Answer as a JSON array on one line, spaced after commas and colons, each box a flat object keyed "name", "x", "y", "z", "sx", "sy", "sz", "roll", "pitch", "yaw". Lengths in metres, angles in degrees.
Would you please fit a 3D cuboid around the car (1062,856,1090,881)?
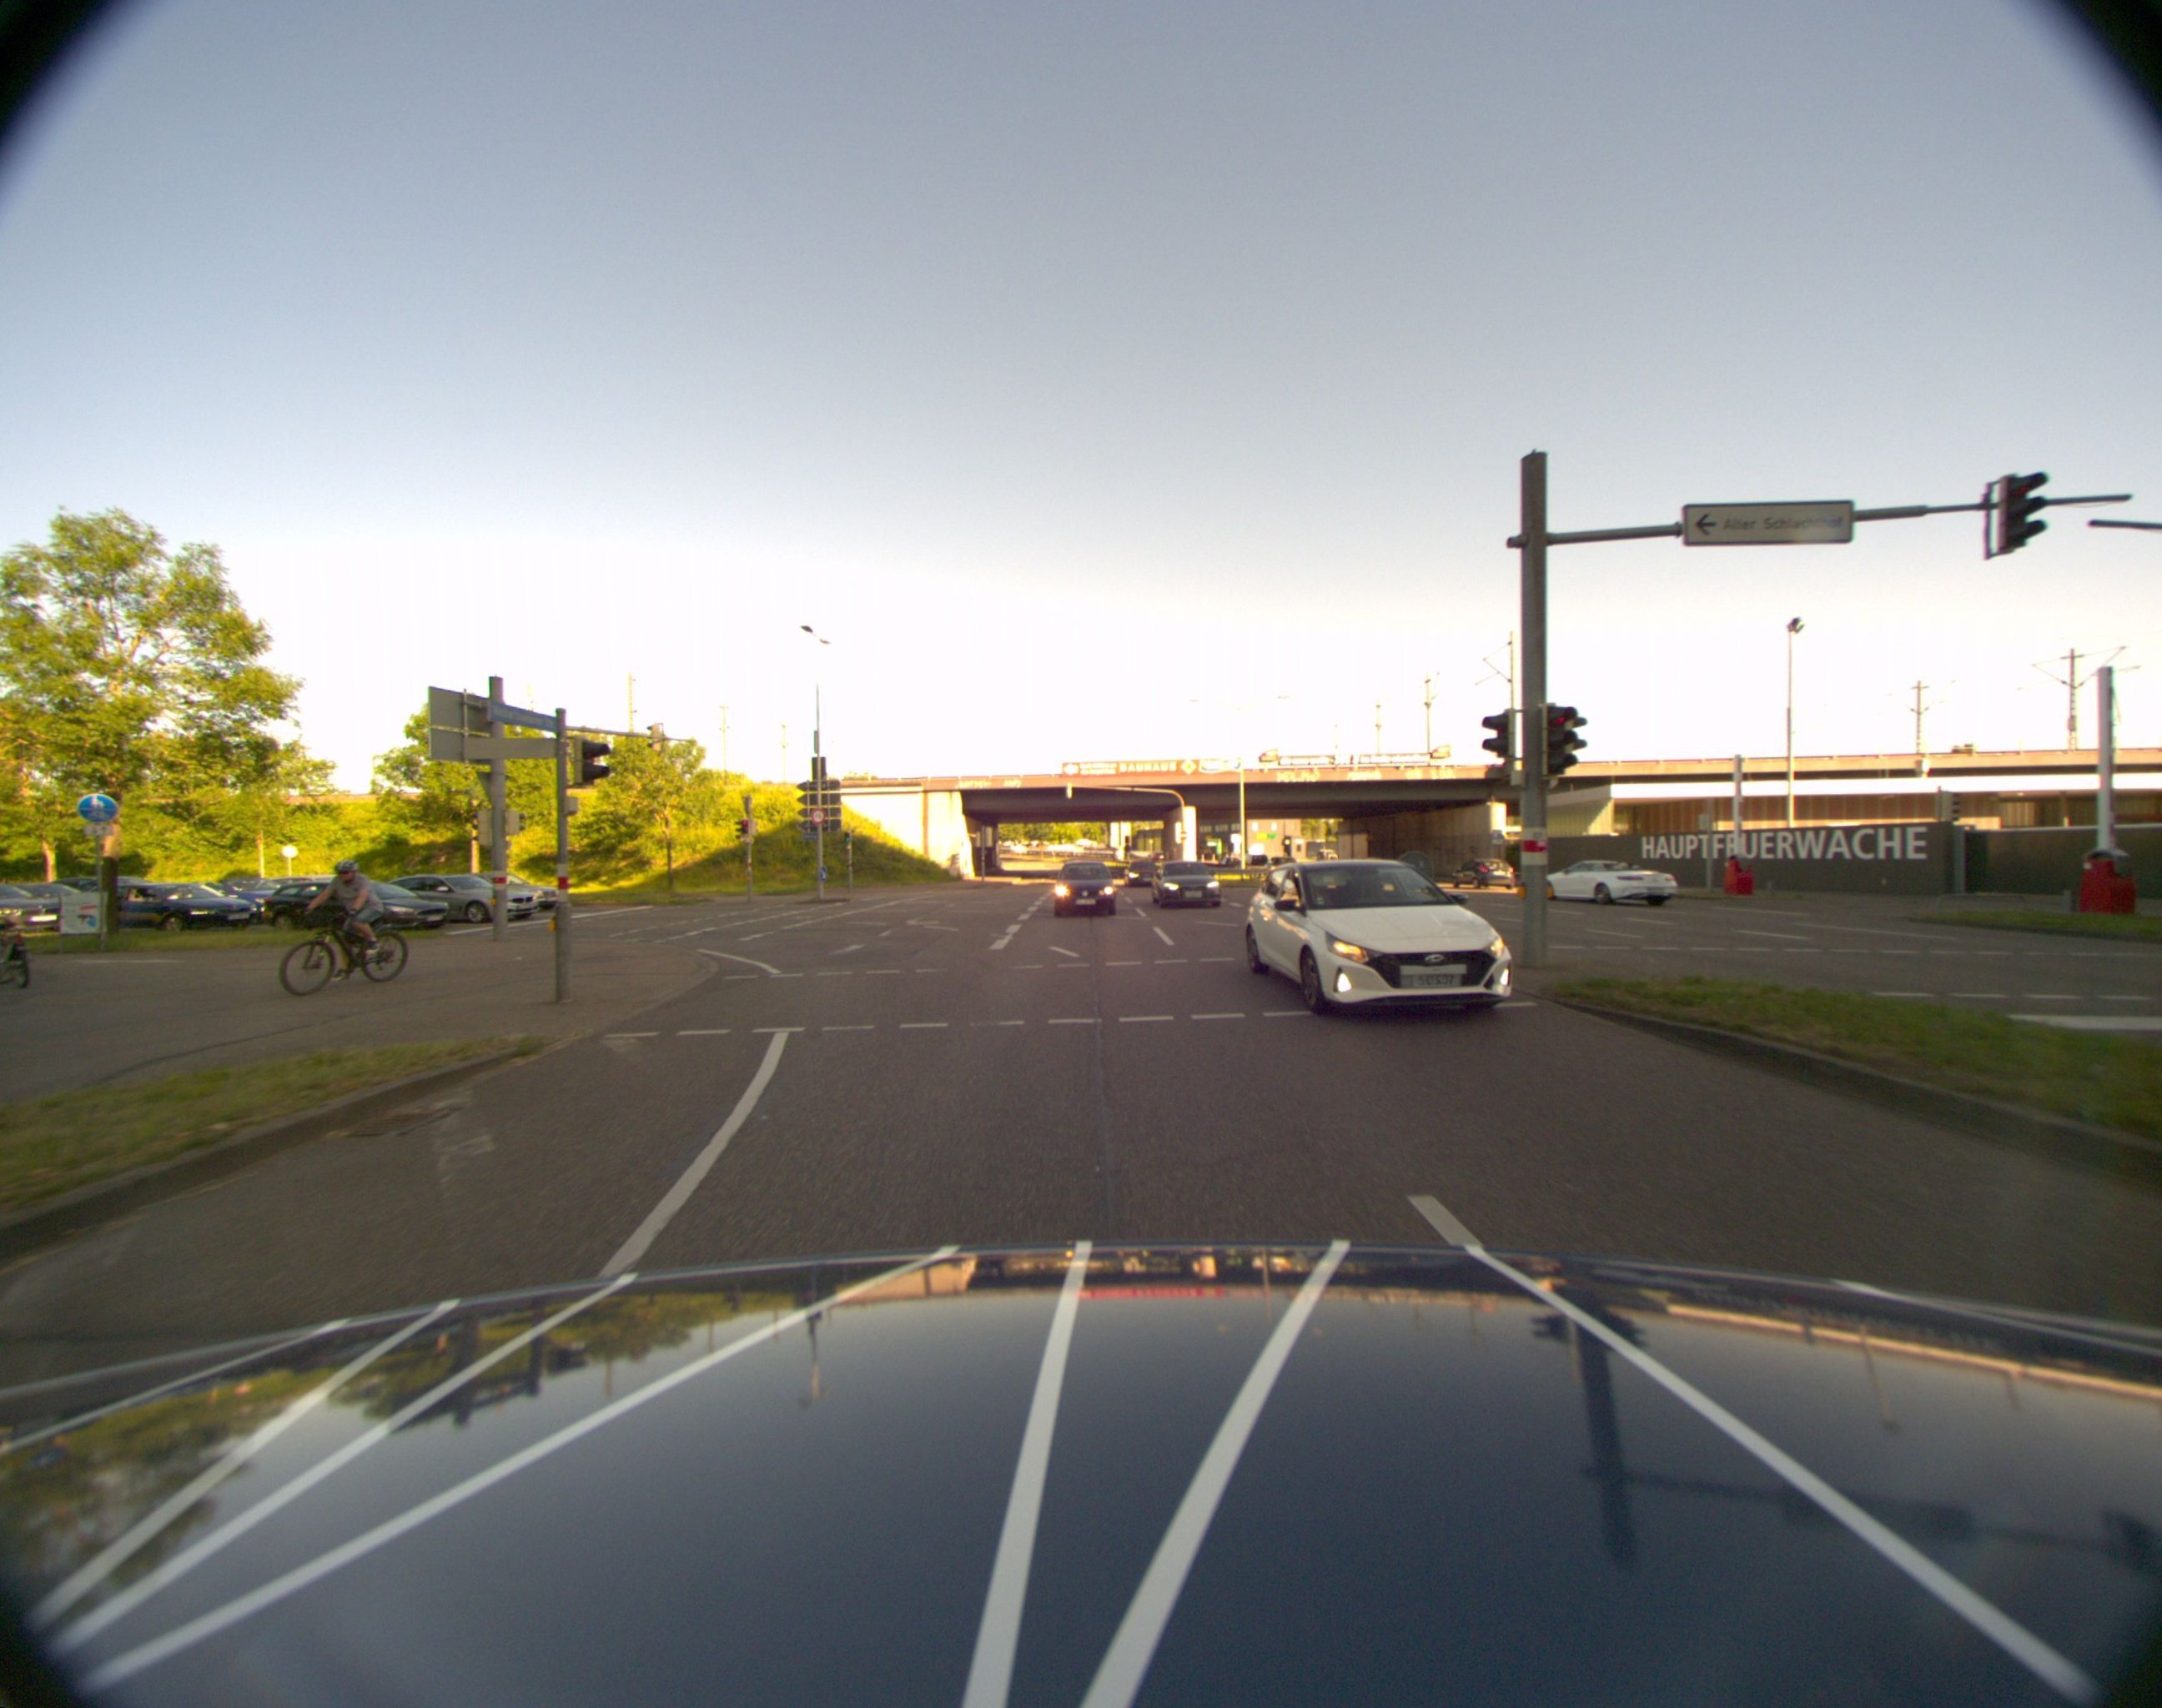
[{"name": "car", "x": -0.320, "y": 0.909, "z": 48.946, "sx": 1.702, "sy": 1.478, "sz": 3.946, "roll": -1, "pitch": 0, "yaw": 0}]

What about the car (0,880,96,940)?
[{"name": "car", "x": -31.536, "y": 1.601, "z": 21.956, "sx": 4.135, "sy": 1.522, "sz": 1.773, "roll": -1, "pitch": 2, "yaw": 6}]

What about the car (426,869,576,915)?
[{"name": "car", "x": -20.555, "y": 1.334, "z": 27.038, "sx": 3.995, "sy": 1.424, "sz": 1.817, "roll": -1, "pitch": 2, "yaw": 5}]

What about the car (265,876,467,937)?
[{"name": "car", "x": -19.783, "y": 1.438, "z": 21.133, "sx": 3.995, "sy": 1.467, "sz": 1.806, "roll": -1, "pitch": 2, "yaw": 5}]

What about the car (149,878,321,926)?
[{"name": "car", "x": -27.188, "y": 1.520, "z": 24.476, "sx": 3.996, "sy": 1.352, "sz": 1.495, "roll": -1, "pitch": 2, "yaw": 4}]

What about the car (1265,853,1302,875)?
[{"name": "car", "x": 14.393, "y": 0.680, "z": 54.289, "sx": 1.632, "sy": 1.531, "sz": 4.000, "roll": 1, "pitch": 0, "yaw": 1}]

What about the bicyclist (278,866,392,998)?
[{"name": "bicyclist", "x": -9.586, "y": 0.965, "z": 9.795, "sx": 0.566, "sy": 1.600, "sz": 0.865, "roll": -1, "pitch": 1, "yaw": 0}]

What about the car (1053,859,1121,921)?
[{"name": "car", "x": 0.160, "y": 0.936, "z": 21.540, "sx": 1.702, "sy": 1.474, "sz": 4.052, "roll": -2, "pitch": 0, "yaw": 0}]

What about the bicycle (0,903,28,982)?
[{"name": "bicycle", "x": -16.572, "y": 1.315, "z": 11.294, "sx": 1.655, "sy": 1.139, "sz": 0.455, "roll": -1, "pitch": 1, "yaw": 14}]

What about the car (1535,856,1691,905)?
[{"name": "car", "x": 17.265, "y": 0.791, "z": 25.019, "sx": 1.707, "sy": 1.433, "sz": 4.881, "roll": 0, "pitch": 0, "yaw": 0}]

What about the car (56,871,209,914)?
[{"name": "car", "x": -35.378, "y": 1.431, "z": 28.390, "sx": 3.874, "sy": 1.424, "sz": 1.590, "roll": -1, "pitch": 2, "yaw": 4}]

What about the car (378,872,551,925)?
[{"name": "car", "x": -19.039, "y": 1.354, "z": 23.573, "sx": 3.995, "sy": 1.467, "sz": 1.817, "roll": -1, "pitch": 2, "yaw": 6}]

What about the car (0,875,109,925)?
[{"name": "car", "x": -35.674, "y": 1.550, "z": 25.655, "sx": 3.850, "sy": 1.522, "sz": 1.621, "roll": -1, "pitch": 2, "yaw": 6}]

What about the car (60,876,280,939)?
[{"name": "car", "x": -25.847, "y": 1.488, "z": 21.673, "sx": 3.916, "sy": 1.521, "sz": 1.842, "roll": -1, "pitch": 2, "yaw": -1}]

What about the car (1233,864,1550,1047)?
[{"name": "car", "x": 2.981, "y": 0.870, "z": 8.334, "sx": 1.782, "sy": 1.400, "sz": 4.074, "roll": -2, "pitch": 0, "yaw": 0}]

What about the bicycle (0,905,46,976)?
[{"name": "bicycle", "x": -18.095, "y": 1.398, "z": 12.367, "sx": 2.258, "sy": 1.099, "sz": 0.700, "roll": -1, "pitch": -2, "yaw": 16}]

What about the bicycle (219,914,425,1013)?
[{"name": "bicycle", "x": -9.610, "y": 1.340, "z": 9.756, "sx": 0.573, "sy": 0.986, "sz": 2.046, "roll": -1, "pitch": 0, "yaw": 0}]

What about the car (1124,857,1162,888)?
[{"name": "car", "x": 3.323, "y": 0.943, "z": 41.223, "sx": 1.702, "sy": 1.528, "sz": 3.946, "roll": -1, "pitch": 0, "yaw": 0}]

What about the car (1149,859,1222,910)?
[{"name": "car", "x": 3.171, "y": 0.889, "z": 23.840, "sx": 1.702, "sy": 1.396, "sz": 4.365, "roll": -1, "pitch": 0, "yaw": 0}]

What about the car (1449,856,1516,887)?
[{"name": "car", "x": 19.617, "y": 0.811, "z": 37.292, "sx": 1.493, "sy": 1.403, "sz": 3.940, "roll": 0, "pitch": 0, "yaw": 5}]

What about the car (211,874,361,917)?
[{"name": "car", "x": -29.393, "y": 1.515, "z": 28.147, "sx": 3.996, "sy": 1.424, "sz": 1.590, "roll": -1, "pitch": 2, "yaw": 4}]

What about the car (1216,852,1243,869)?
[{"name": "car", "x": 13.714, "y": 0.556, "z": 70.227, "sx": 1.727, "sy": 1.531, "sz": 4.000, "roll": 1, "pitch": 0, "yaw": 0}]

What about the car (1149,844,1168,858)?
[{"name": "car", "x": 10.167, "y": -0.447, "z": 100.434, "sx": 1.815, "sy": 1.687, "sz": 3.998, "roll": -2, "pitch": 1, "yaw": -3}]

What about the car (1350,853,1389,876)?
[{"name": "car", "x": 20.637, "y": 0.728, "z": 54.490, "sx": 1.571, "sy": 1.524, "sz": 3.427, "roll": -1, "pitch": 0, "yaw": 1}]

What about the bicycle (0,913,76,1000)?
[{"name": "bicycle", "x": -14.123, "y": 1.311, "z": 9.887, "sx": 1.992, "sy": 1.046, "sz": 0.455, "roll": -1, "pitch": 1, "yaw": 13}]
